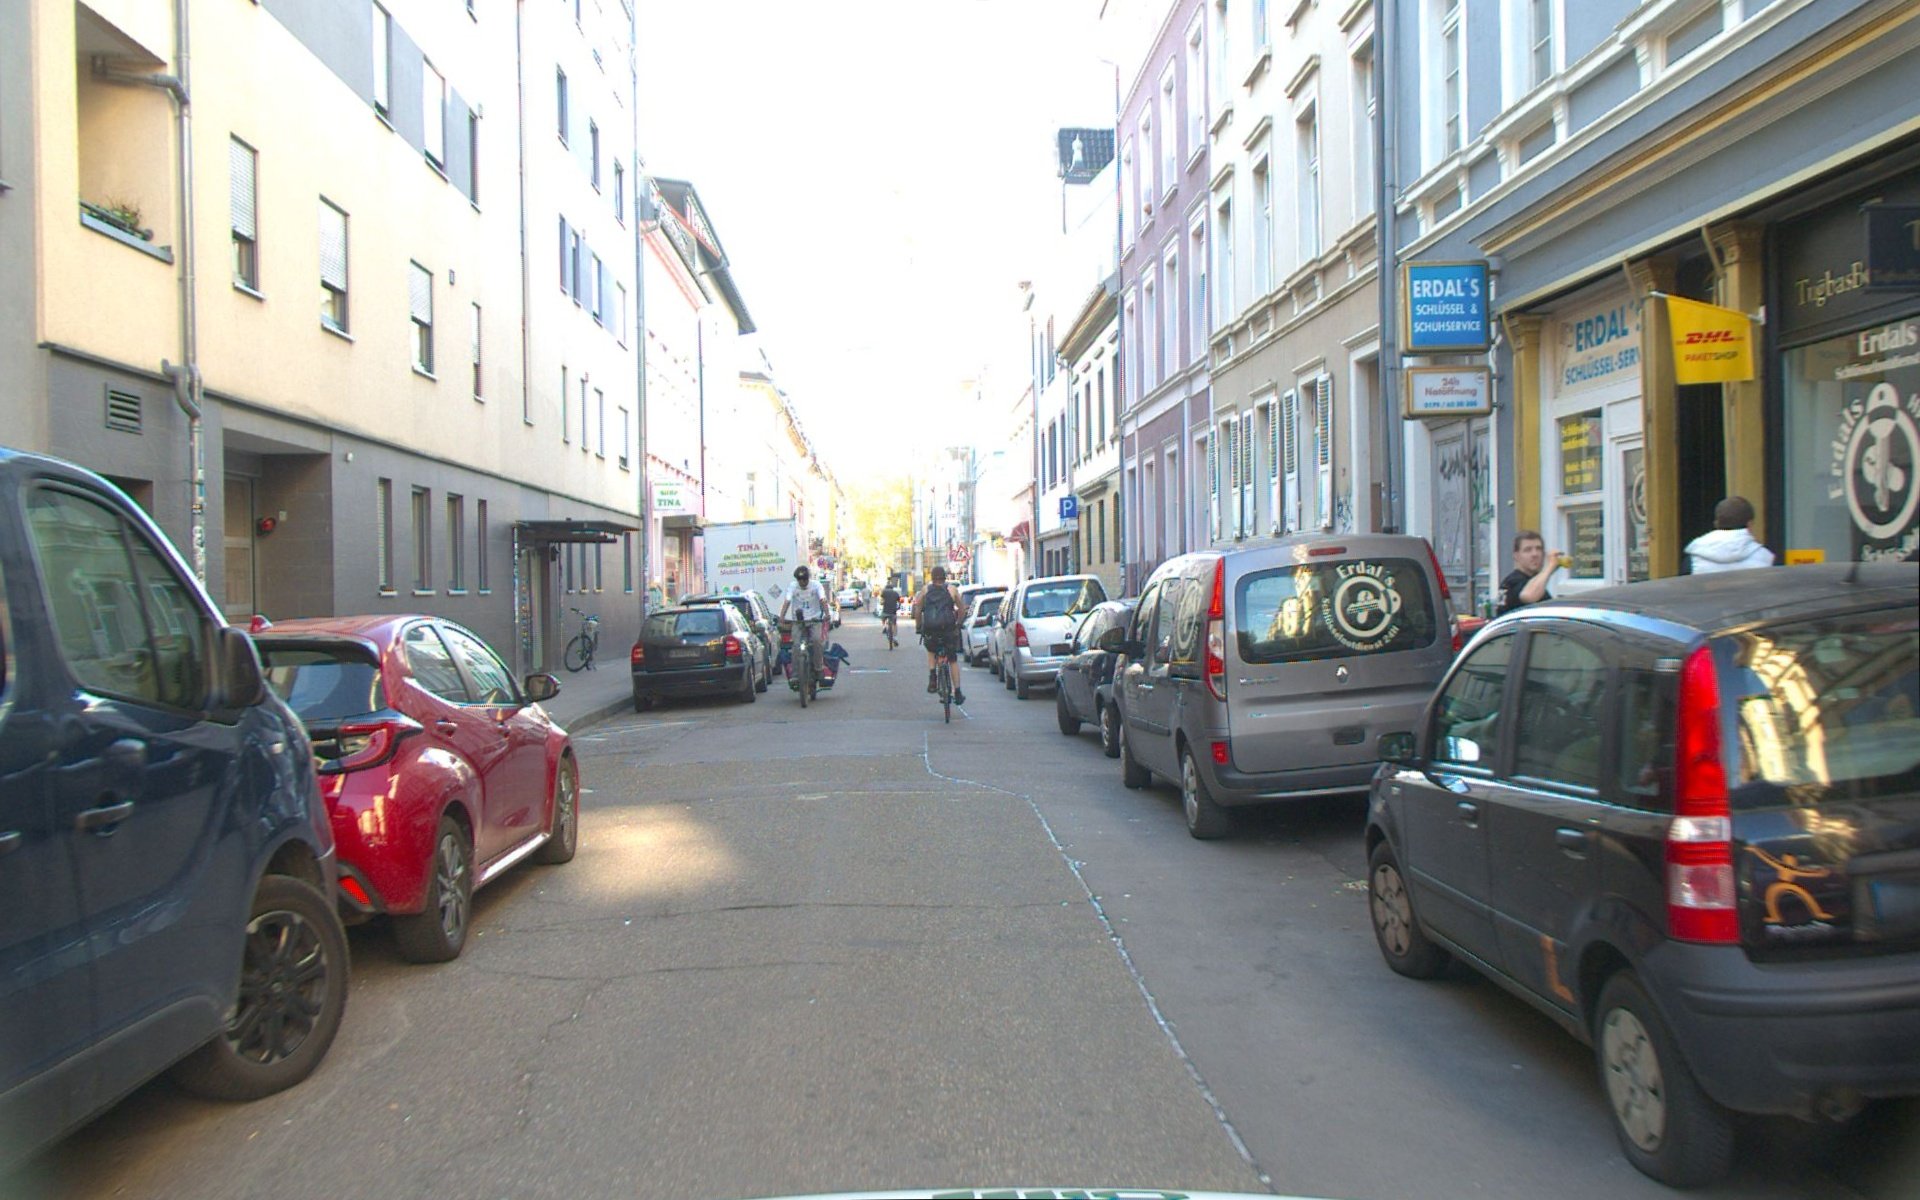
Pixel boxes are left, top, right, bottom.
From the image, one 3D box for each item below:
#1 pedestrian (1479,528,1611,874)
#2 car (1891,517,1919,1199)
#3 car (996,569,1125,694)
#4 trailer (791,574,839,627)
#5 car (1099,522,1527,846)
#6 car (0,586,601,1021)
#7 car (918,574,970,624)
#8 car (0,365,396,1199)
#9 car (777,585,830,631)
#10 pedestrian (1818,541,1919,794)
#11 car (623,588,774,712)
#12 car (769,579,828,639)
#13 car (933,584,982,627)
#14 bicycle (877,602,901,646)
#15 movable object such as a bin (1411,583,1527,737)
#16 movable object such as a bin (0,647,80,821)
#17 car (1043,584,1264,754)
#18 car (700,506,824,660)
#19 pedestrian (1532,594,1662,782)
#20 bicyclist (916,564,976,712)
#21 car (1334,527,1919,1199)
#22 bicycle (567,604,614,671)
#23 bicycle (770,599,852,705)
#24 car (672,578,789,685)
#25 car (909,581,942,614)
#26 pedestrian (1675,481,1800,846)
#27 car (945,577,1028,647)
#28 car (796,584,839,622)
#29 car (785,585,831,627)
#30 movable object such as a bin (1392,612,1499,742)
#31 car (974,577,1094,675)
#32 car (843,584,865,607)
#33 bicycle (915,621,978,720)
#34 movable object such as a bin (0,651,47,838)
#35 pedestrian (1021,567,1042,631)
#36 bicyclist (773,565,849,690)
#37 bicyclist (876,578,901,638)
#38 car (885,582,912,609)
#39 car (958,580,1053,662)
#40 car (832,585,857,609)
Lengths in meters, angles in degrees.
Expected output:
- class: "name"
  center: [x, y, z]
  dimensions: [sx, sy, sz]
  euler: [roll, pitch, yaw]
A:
- class: "pedestrian"
  center: [3.039, 0.508, 8.628]
  dimensions: [0.432, 1.734, 0.654]
  euler: [0, 0, -2]
- class: "car"
  center: [2.529, 0.654, 1.205]
  dimensions: [1.574, 1.600, 3.551]
  euler: [0, 0, -3]
- class: "car"
  center: [1.447, 0.442, 24.819]
  dimensions: [1.525, 1.742, 3.556]
  euler: [0, 0, -3]
- class: "trailer"
  center: [-6.136, 0.021, 70.331]
  dimensions: [1.844, 2.129, 3.735]
  euler: [-2, 0, -3]
- class: "car"
  center: [2.193, 0.472, 11.541]
  dimensions: [1.861, 1.825, 4.312]
  euler: [0, 0, -3]
- class: "car"
  center: [-3.054, 0.788, 8.305]
  dimensions: [1.716, 1.548, 3.867]
  euler: [-4, 0, -3]
- class: "car"
  center: [-0.683, -0.056, 67.329]
  dimensions: [1.716, 1.911, 3.968]
  euler: [-2, 0, -5]
- class: "car"
  center: [-2.927, 0.484, 3.180]
  dimensions: [1.979, 1.912, 5.295]
  euler: [0, 1, -1]
- class: "car"
  center: [-5.691, 0.282, 60.613]
  dimensions: [1.715, 1.564, 4.316]
  euler: [-2, 0, -3]
- class: "pedestrian"
  center: [4.714, 0.331, 8.437]
  dimensions: [0.521, 1.244, 0.512]
  euler: [0, 0, 37]
- class: "car"
  center: [-3.775, 0.657, 24.574]
  dimensions: [1.683, 1.504, 4.496]
  euler: [-4, 1, -3]
- class: "car"
  center: [-5.340, 0.292, 55.062]
  dimensions: [1.718, 1.847, 4.075]
  euler: [-3, 0, -4]
- class: "car"
  center: [-0.114, 0.186, 62.291]
  dimensions: [1.715, 1.512, 3.798]
  euler: [-2, 0, -1]
- class: "bicycle"
  center: [-1.892, 0.622, 43.967]
  dimensions: [0.635, 1.149, 2.134]
  euler: [0, 0, -3]
- class: "movable object such as a bin"
  center: [4.365, 0.501, 14.206]
  dimensions: [0.747, 1.265, 0.580]
  euler: [-2, 0, -6]
- class: "movable object such as a bin"
  center: [-6.145, 0.857, 10.732]
  dimensions: [0.721, 1.085, 0.500]
  euler: [0, 0, -34]
- class: "car"
  center: [1.862, 0.626, 16.897]
  dimensions: [1.522, 1.537, 3.608]
  euler: [0, 0, -5]
- class: "car"
  center: [-4.765, -0.379, 40.894]
  dimensions: [2.297, 3.348, 7.151]
  euler: [-3, 0, -2]
- class: "pedestrian"
  center: [4.520, 0.610, 11.766]
  dimensions: [0.662, 1.299, 0.654]
  euler: [0, 0, -1]
- class: "bicyclist"
  center: [-0.178, 0.435, 19.676]
  dimensions: [0.654, 1.706, 1.096]
  euler: [0, 0, -3]
- class: "car"
  center: [2.453, 0.607, 5.477]
  dimensions: [1.538, 1.583, 3.313]
  euler: [-4, 0, -1]
- class: "bicycle"
  center: [-7.010, 0.694, 31.438]
  dimensions: [0.480, 1.184, 1.773]
  euler: [-3, 1, -2]
- class: "bicycle"
  center: [-2.057, 0.691, 23.219]
  dimensions: [0.958, 1.337, 2.554]
  euler: [-2, 1, -2]
- class: "car"
  center: [-4.140, 0.508, 30.344]
  dimensions: [1.683, 1.679, 4.243]
  euler: [-4, 1, -3]
- class: "car"
  center: [-1.788, -0.132, 84.544]
  dimensions: [1.579, 1.662, 3.608]
  euler: [0, 0, -3]
- class: "pedestrian"
  center: [3.905, 0.308, 8.330]
  dimensions: [0.549, 1.771, 0.427]
  euler: [0, 0, 24]
- class: "car"
  center: [0.641, 0.273, 43.945]
  dimensions: [1.880, 1.735, 4.363]
  euler: [-1, 0, -3]
- class: "car"
  center: [-6.375, 0.121, 74.357]
  dimensions: [1.715, 1.600, 3.793]
  euler: [-2, 0, -3]
- class: "car"
  center: [-5.997, 0.243, 65.689]
  dimensions: [1.620, 1.564, 3.632]
  euler: [-2, 0, -3]
- class: "movable object such as a bin"
  center: [4.356, 0.678, 14.875]
  dimensions: [0.711, 1.111, 0.684]
  euler: [-1, 0, -5]
- class: "car"
  center: [1.277, 0.436, 30.307]
  dimensions: [1.663, 1.570, 4.626]
  euler: [-3, 0, -3]
- class: "car"
  center: [-8.978, -0.354, 140.596]
  dimensions: [1.715, 1.853, 3.793]
  euler: [-2, 0, -3]
- class: "bicycle"
  center: [-0.177, 0.807, 19.656]
  dimensions: [0.663, 1.093, 1.940]
  euler: [0, 0, -3]
- class: "movable object such as a bin"
  center: [-6.004, 0.856, 9.854]
  dimensions: [0.743, 1.085, 0.652]
  euler: [0, 0, 17]
- class: "pedestrian"
  center: [2.313, -0.021, 53.526]
  dimensions: [0.631, 2.049, 0.763]
  euler: [0, 0, -3]
- class: "bicyclist"
  center: [-2.053, 0.367, 22.935]
  dimensions: [0.931, 1.656, 0.952]
  euler: [-3, 0, -3]
- class: "bicyclist"
  center: [-1.899, 0.208, 43.955]
  dimensions: [0.658, 1.594, 0.716]
  euler: [0, 0, -5]
- class: "car"
  center: [-3.777, -0.252, 100.743]
  dimensions: [1.579, 1.587, 3.608]
  euler: [0, 0, -3]
- class: "car"
  center: [0.921, 0.429, 35.653]
  dimensions: [1.653, 1.570, 4.043]
  euler: [-3, 0, -3]
- class: "car"
  center: [-8.591, -0.201, 123.542]
  dimensions: [1.715, 1.713, 3.793]
  euler: [-2, 0, -3]
